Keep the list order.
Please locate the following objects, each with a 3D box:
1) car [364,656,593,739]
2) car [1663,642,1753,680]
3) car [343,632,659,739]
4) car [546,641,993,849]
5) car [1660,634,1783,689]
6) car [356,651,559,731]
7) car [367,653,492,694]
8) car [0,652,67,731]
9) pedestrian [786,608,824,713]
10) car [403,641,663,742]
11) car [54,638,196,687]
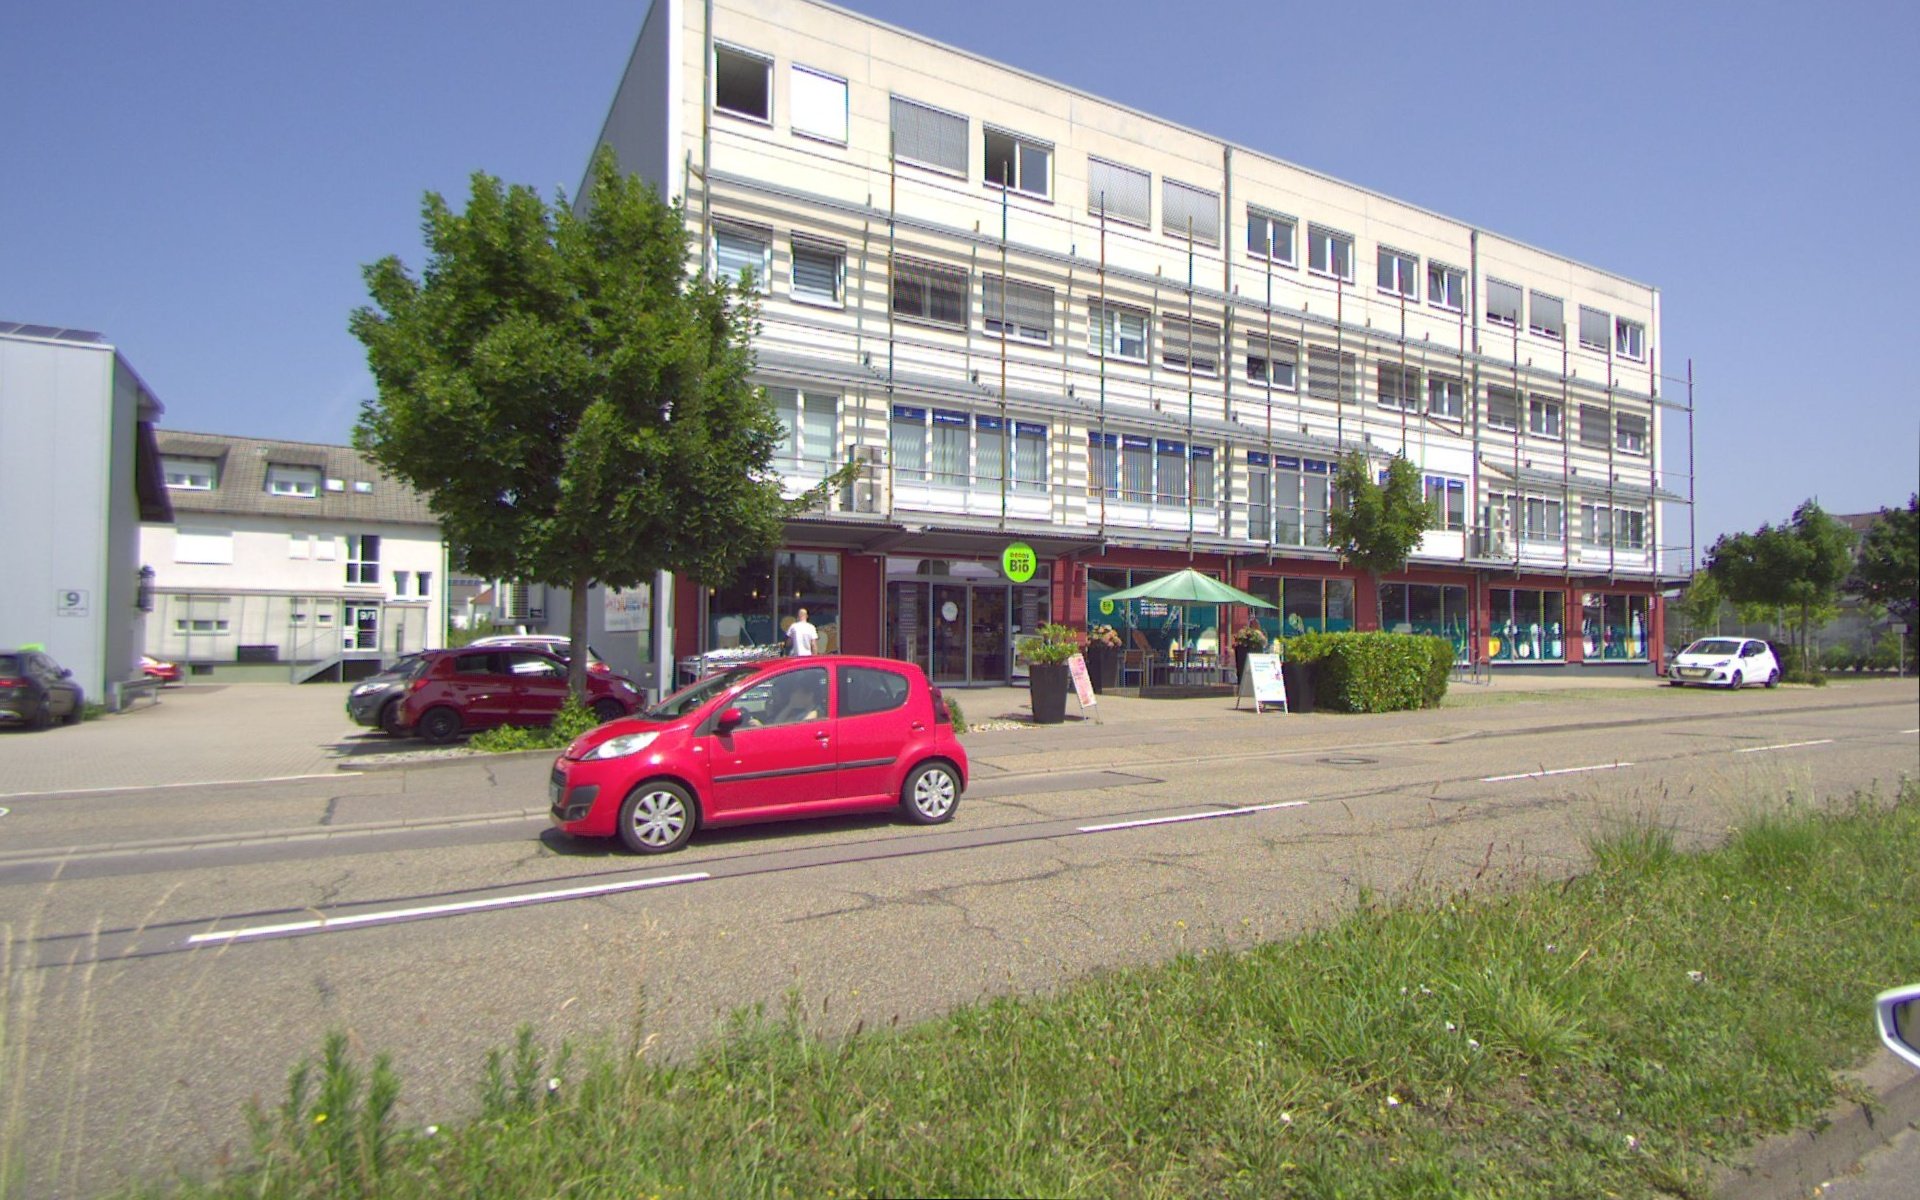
[{"bbox_3d":[-9.533,1.893,20.031,3.952,1.484,1.732,2,-5,-29],"label":"car"},{"bbox_3d":[32.984,2.681,44.274,3.952,1.567,1.762,3,-4,-29],"label":"car"},{"bbox_3d":[-8.348,1.524,18.528,5.107,1.756,1.751,1,-5,-31],"label":"car"},{"bbox_3d":[-1.597,1.145,8.584,3.409,1.442,1.624,2,-7,-30],"label":"car"},{"bbox_3d":[22.811,1.806,30.071,3.998,1.514,1.669,2,-2,-33],"label":"car"},{"bbox_3d":[-11.293,1.984,22.688,3.953,1.661,1.768,2,-3,-30],"label":"car"},{"bbox_3d":[-19.907,2.754,37.870,3.939,1.470,1.727,1,-3,-20],"label":"car"},{"bbox_3d":[-19.577,1.818,20.471,1.750,1.479,3.810,2,-3,-38],"label":"car"},{"bbox_3d":[-2.862,1.104,18.500,0.492,1.891,0.672,1,-3,-30],"label":"pedestrian"},{"bbox_3d":[-6.978,1.450,16.514,3.754,1.486,1.652,1,-5,-31],"label":"car"},{"bbox_3d":[-33.236,2.493,40.138,3.954,1.795,1.984,4,-3,-30],"label":"car"}]
